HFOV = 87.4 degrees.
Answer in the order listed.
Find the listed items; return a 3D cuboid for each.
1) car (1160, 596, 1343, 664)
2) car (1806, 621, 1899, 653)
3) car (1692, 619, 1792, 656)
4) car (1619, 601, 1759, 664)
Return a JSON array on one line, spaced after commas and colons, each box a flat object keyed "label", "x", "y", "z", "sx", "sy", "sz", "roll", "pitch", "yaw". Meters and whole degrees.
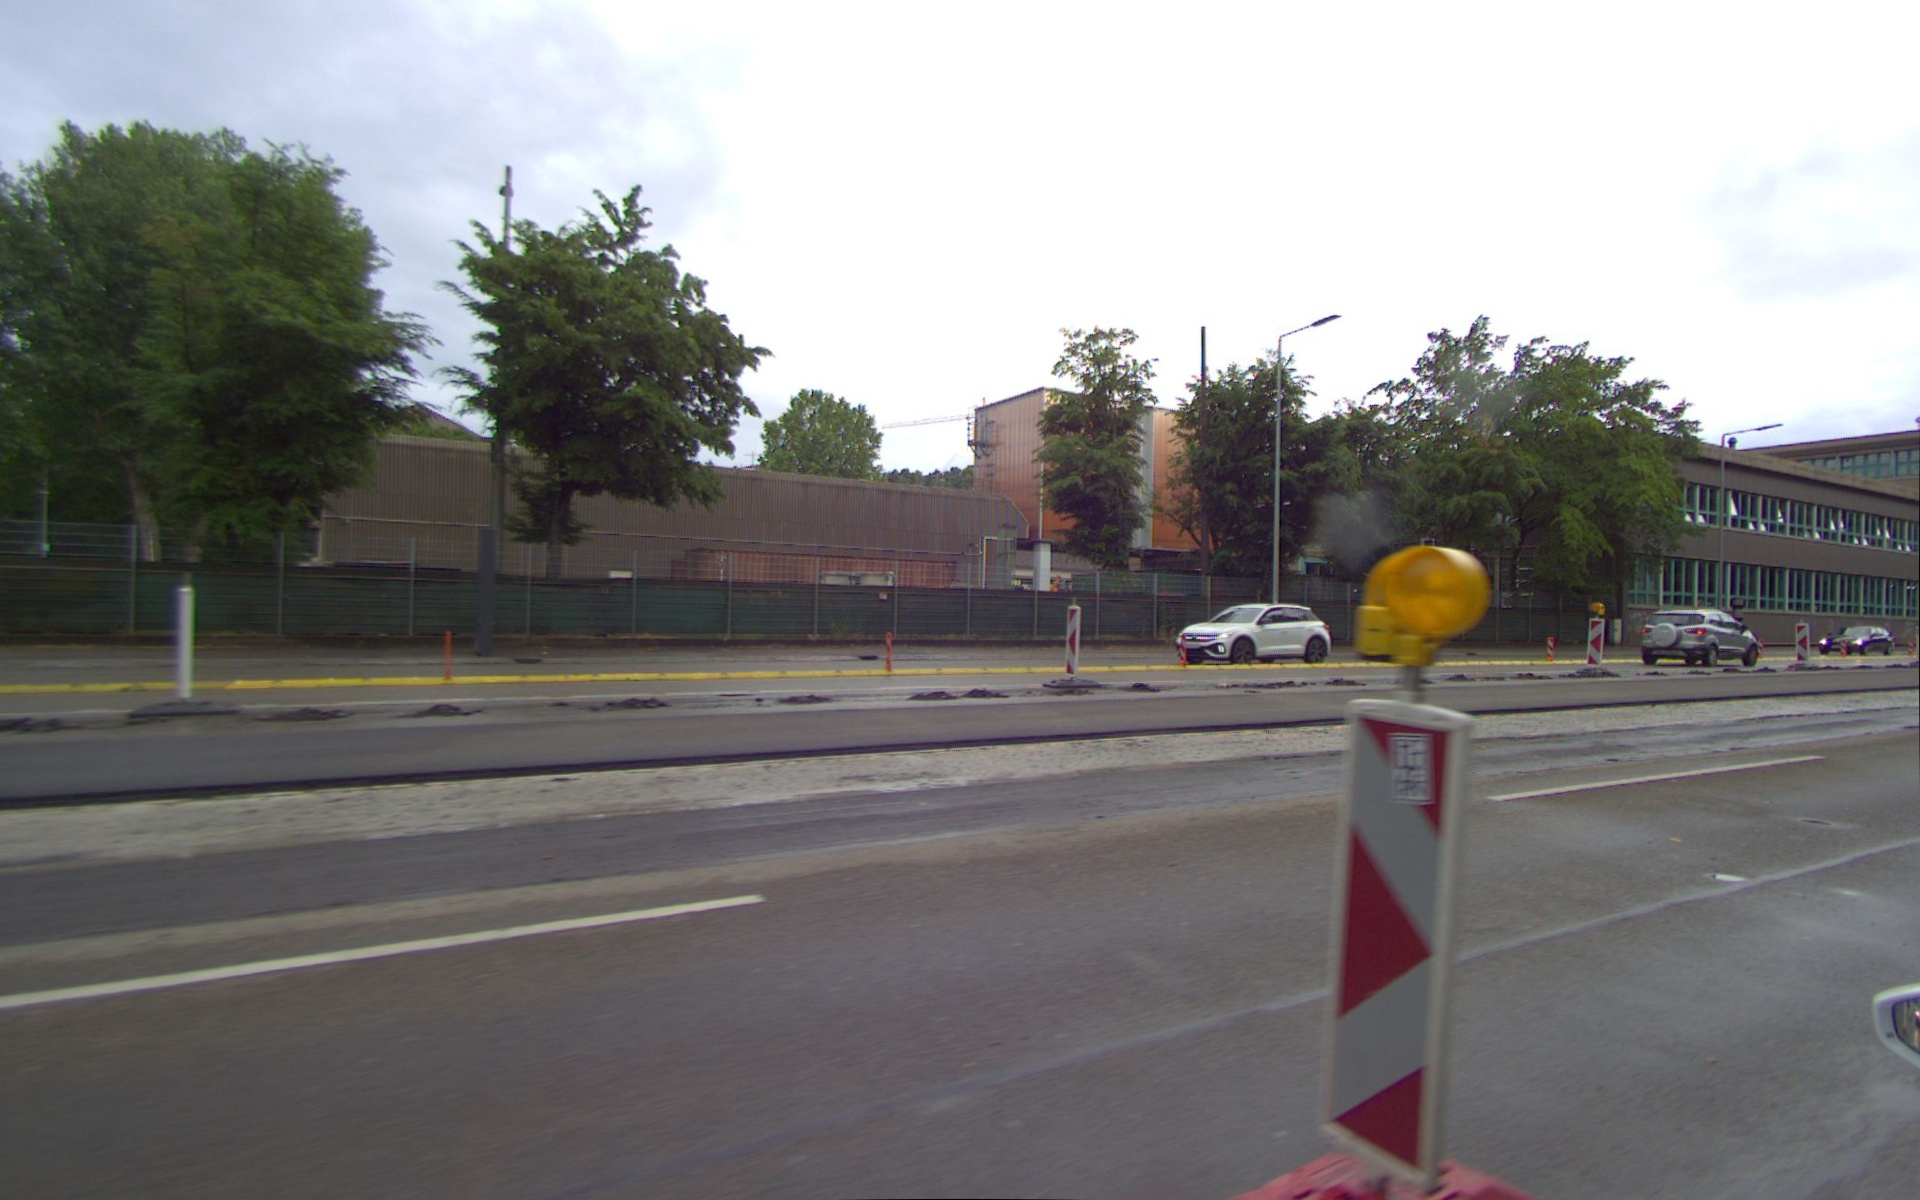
[{"label": "car", "x": 7.229, "y": 0.724, "z": 24.841, "sx": 4.216, "sy": 1.533, "sz": 1.984, "roll": 1, "pitch": 0, "yaw": -30}, {"label": "car", "x": 44.101, "y": 1.833, "z": 49.619, "sx": 4.709, "sy": 1.474, "sz": 2.036, "roll": 2, "pitch": 0, "yaw": -30}, {"label": "car", "x": 33.131, "y": 1.574, "z": 42.515, "sx": 4.217, "sy": 1.448, "sz": 1.983, "roll": 1, "pitch": 0, "yaw": -32}, {"label": "car", "x": 21.299, "y": 0.942, "z": 29.324, "sx": 3.953, "sy": 1.670, "sz": 1.845, "roll": 2, "pitch": 0, "yaw": -31}]
